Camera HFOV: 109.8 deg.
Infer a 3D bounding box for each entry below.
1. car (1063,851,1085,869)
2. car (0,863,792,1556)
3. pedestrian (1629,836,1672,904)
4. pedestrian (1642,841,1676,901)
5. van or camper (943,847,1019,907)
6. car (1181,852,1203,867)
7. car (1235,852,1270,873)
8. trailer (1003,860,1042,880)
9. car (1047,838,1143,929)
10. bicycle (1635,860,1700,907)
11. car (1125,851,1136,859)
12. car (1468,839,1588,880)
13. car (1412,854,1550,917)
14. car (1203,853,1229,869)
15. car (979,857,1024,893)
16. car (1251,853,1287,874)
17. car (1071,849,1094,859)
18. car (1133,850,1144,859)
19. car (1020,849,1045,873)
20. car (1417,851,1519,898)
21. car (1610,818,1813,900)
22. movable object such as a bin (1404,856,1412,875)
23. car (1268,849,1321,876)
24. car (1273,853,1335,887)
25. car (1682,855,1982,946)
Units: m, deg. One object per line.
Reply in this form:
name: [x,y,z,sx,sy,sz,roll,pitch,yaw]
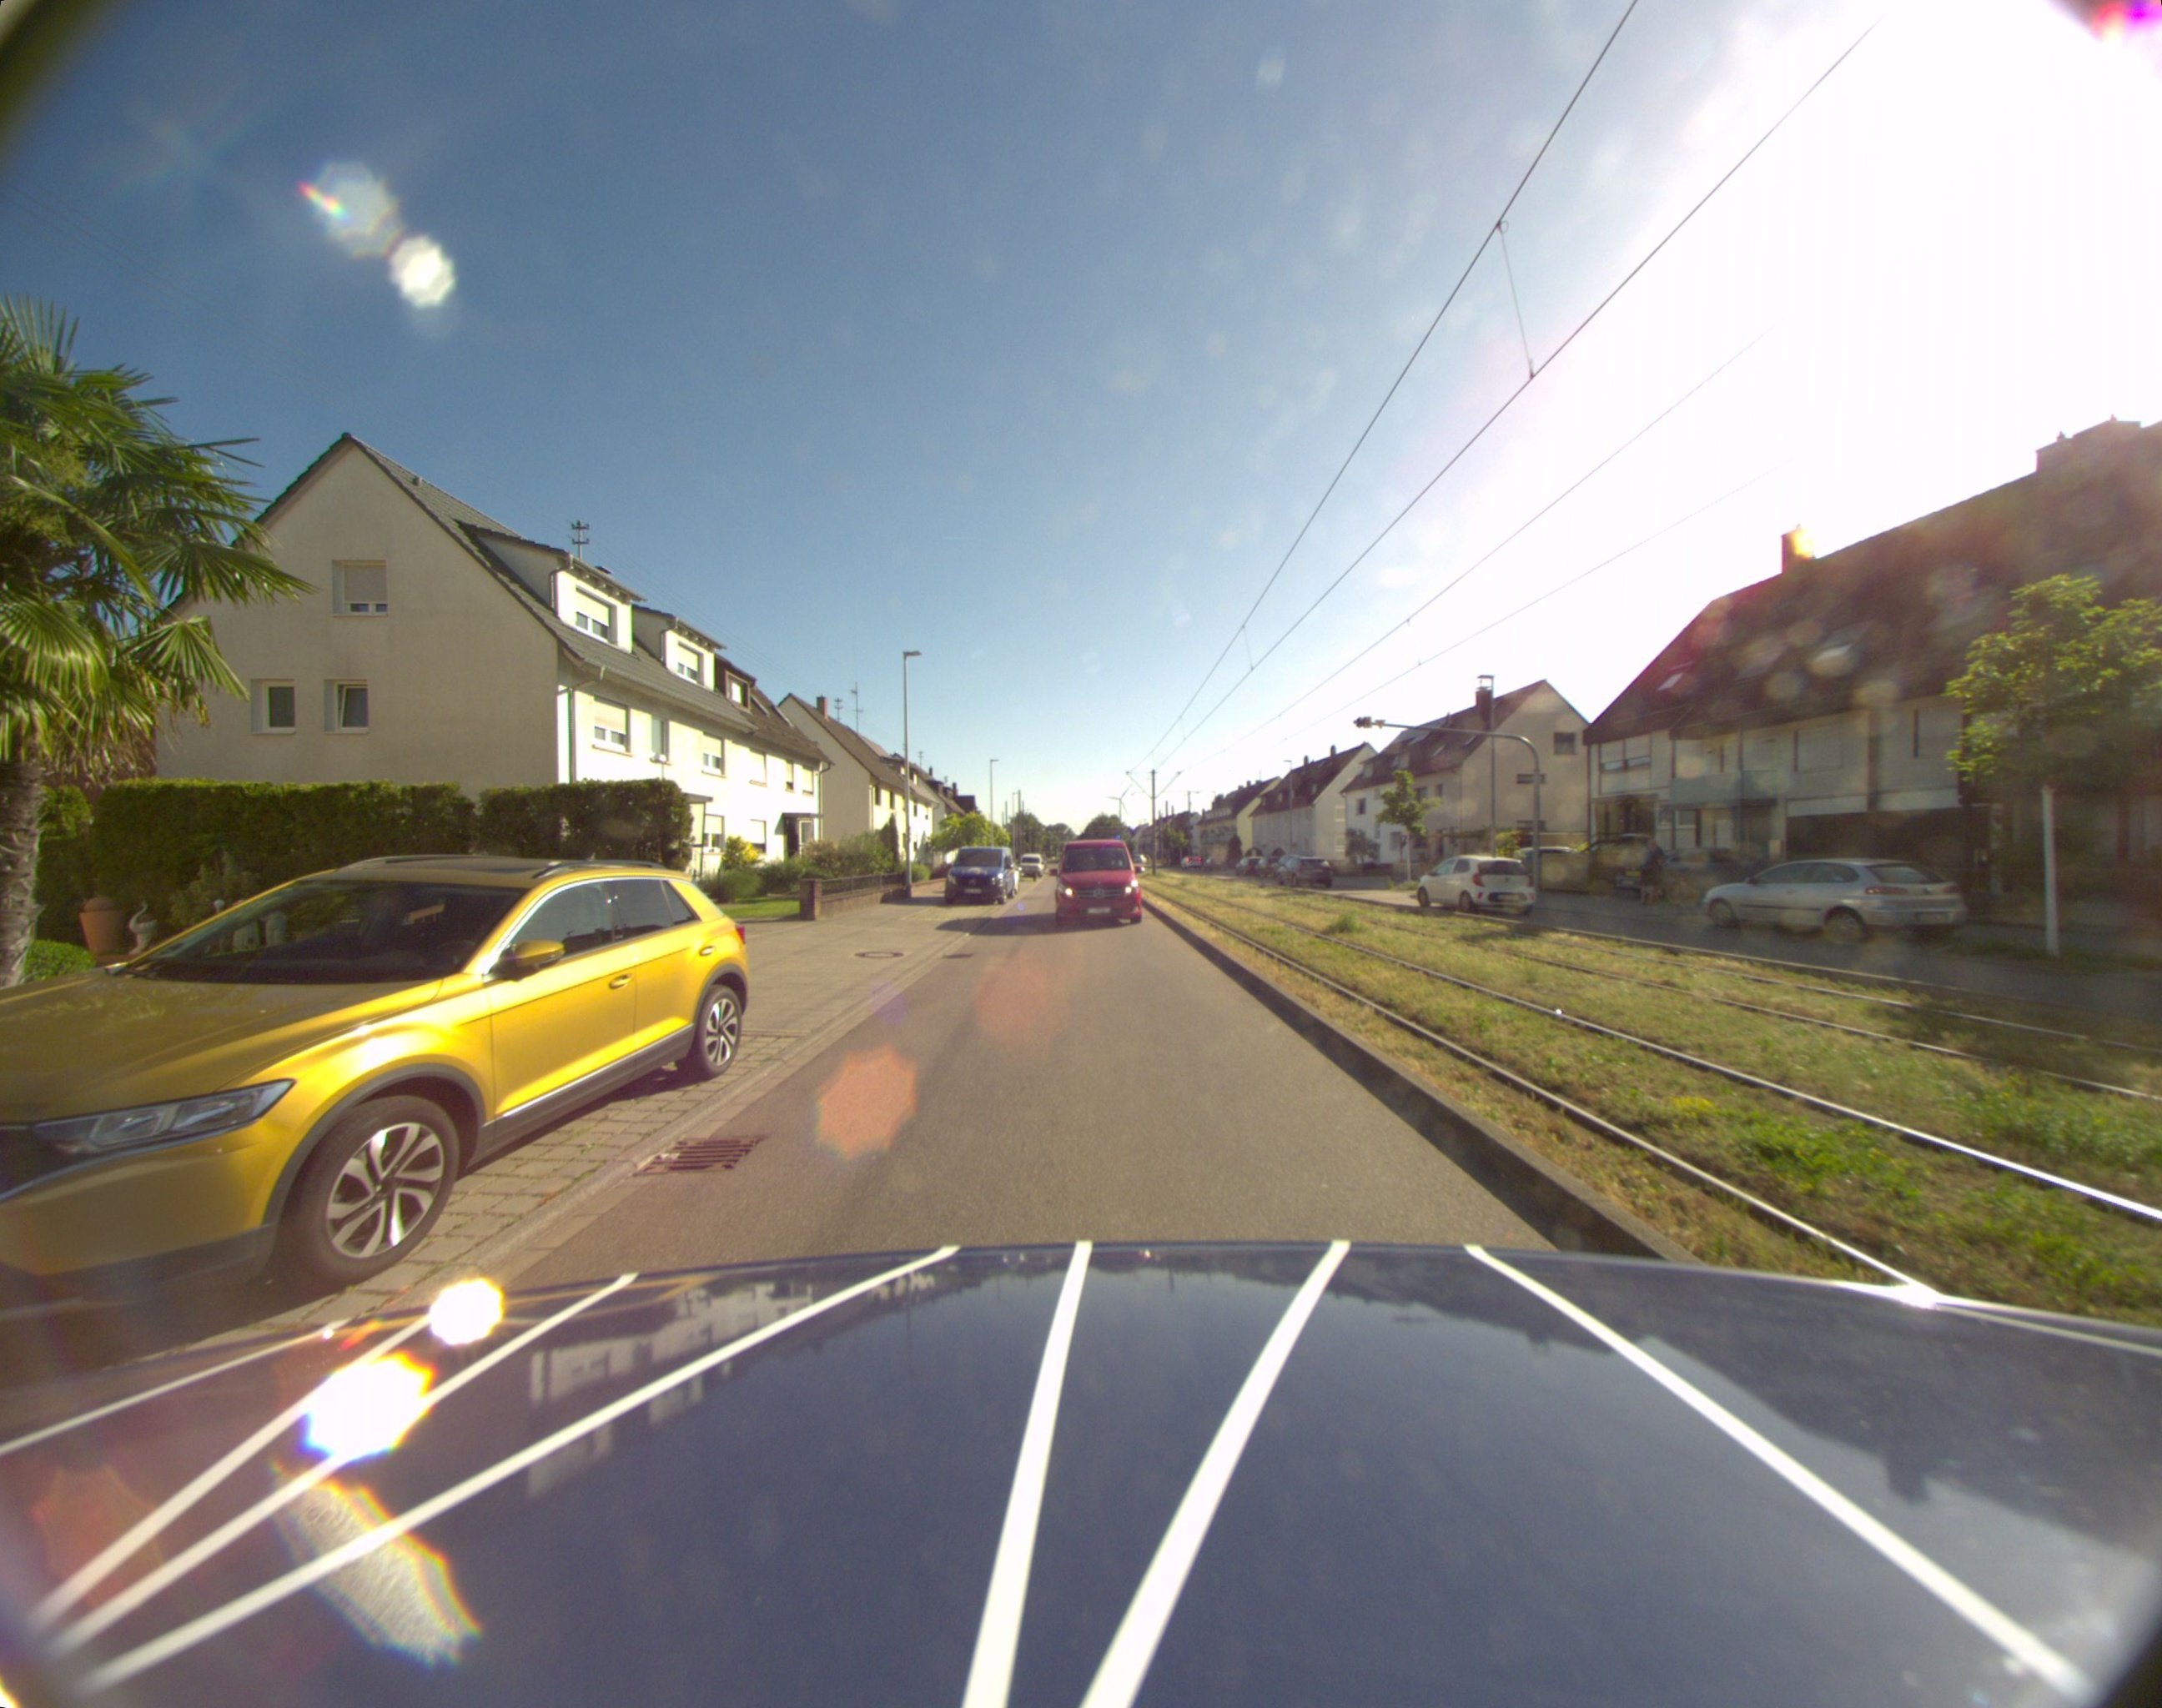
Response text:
car: [-0.674,0.534,72.573,1.862,1.592,4.327,2,1,-3]
car: [-3.472,0.882,4.225,1.810,1.550,4.926,0,1,1]
pedestrian: [15.666,0.435,20.899,0.617,1.805,0.678,-2,1,-8]
pedestrian: [16.605,0.475,21.824,0.552,1.678,0.624,-2,1,16]
van or camper: [-3.332,0.689,26.306,1.954,1.836,5.581,0,1,-1]
car: [12.509,0.562,85.777,1.831,1.522,4.092,-2,1,0]
car: [13.293,0.648,59.049,1.658,1.447,4.400,-2,1,0]
trailer: [-3.732,0.996,49.332,2.278,1.124,6.434,2,0,-3]
car: [0.276,0.605,18.895,1.999,1.889,5.389,-2,1,0]
bicycle: [16.142,0.786,20.966,0.478,1.156,1.872,-2,1,6]
car: [10.526,0.270,161.117,2.017,1.561,4.092,-2,1,0]
car: [20.644,0.263,35.234,4.403,1.773,1.970,-1,0,0]
car: [10.488,0.766,20.258,1.693,1.467,3.679,0,1,-1]
car: [13.124,0.629,73.903,1.704,1.389,4.092,-2,1,0]
car: [-3.453,0.868,33.634,1.735,1.450,5.283,0,0,-3]
car: [13.322,0.657,53.921,1.469,1.459,3.998,0,0,-1]
car: [0.287,0.013,133.915,3.728,1.555,1.706,-2,1,5]
car: [10.241,0.050,135.429,1.704,1.455,4.092,-2,1,0]
car: [-3.762,0.540,59.695,1.796,1.752,4.583,2,0,-3]
car: [13.768,0.662,27.302,1.623,1.503,4.085,-2,0,1]
car: [18.764,0.135,22.770,4.471,2.069,1.787,-4,1,1]
movable object such as a bin: [18.006,0.638,41.824,0.198,1.007,0.607,-2,-1,3]
car: [13.597,0.505,48.625,1.926,1.551,4.857,-2,1,-1]
car: [10.668,0.732,36.654,1.693,1.467,4.082,-2,1,-1]
car: [13.952,0.775,14.520,1.662,1.428,4.102,-1,0,-1]
